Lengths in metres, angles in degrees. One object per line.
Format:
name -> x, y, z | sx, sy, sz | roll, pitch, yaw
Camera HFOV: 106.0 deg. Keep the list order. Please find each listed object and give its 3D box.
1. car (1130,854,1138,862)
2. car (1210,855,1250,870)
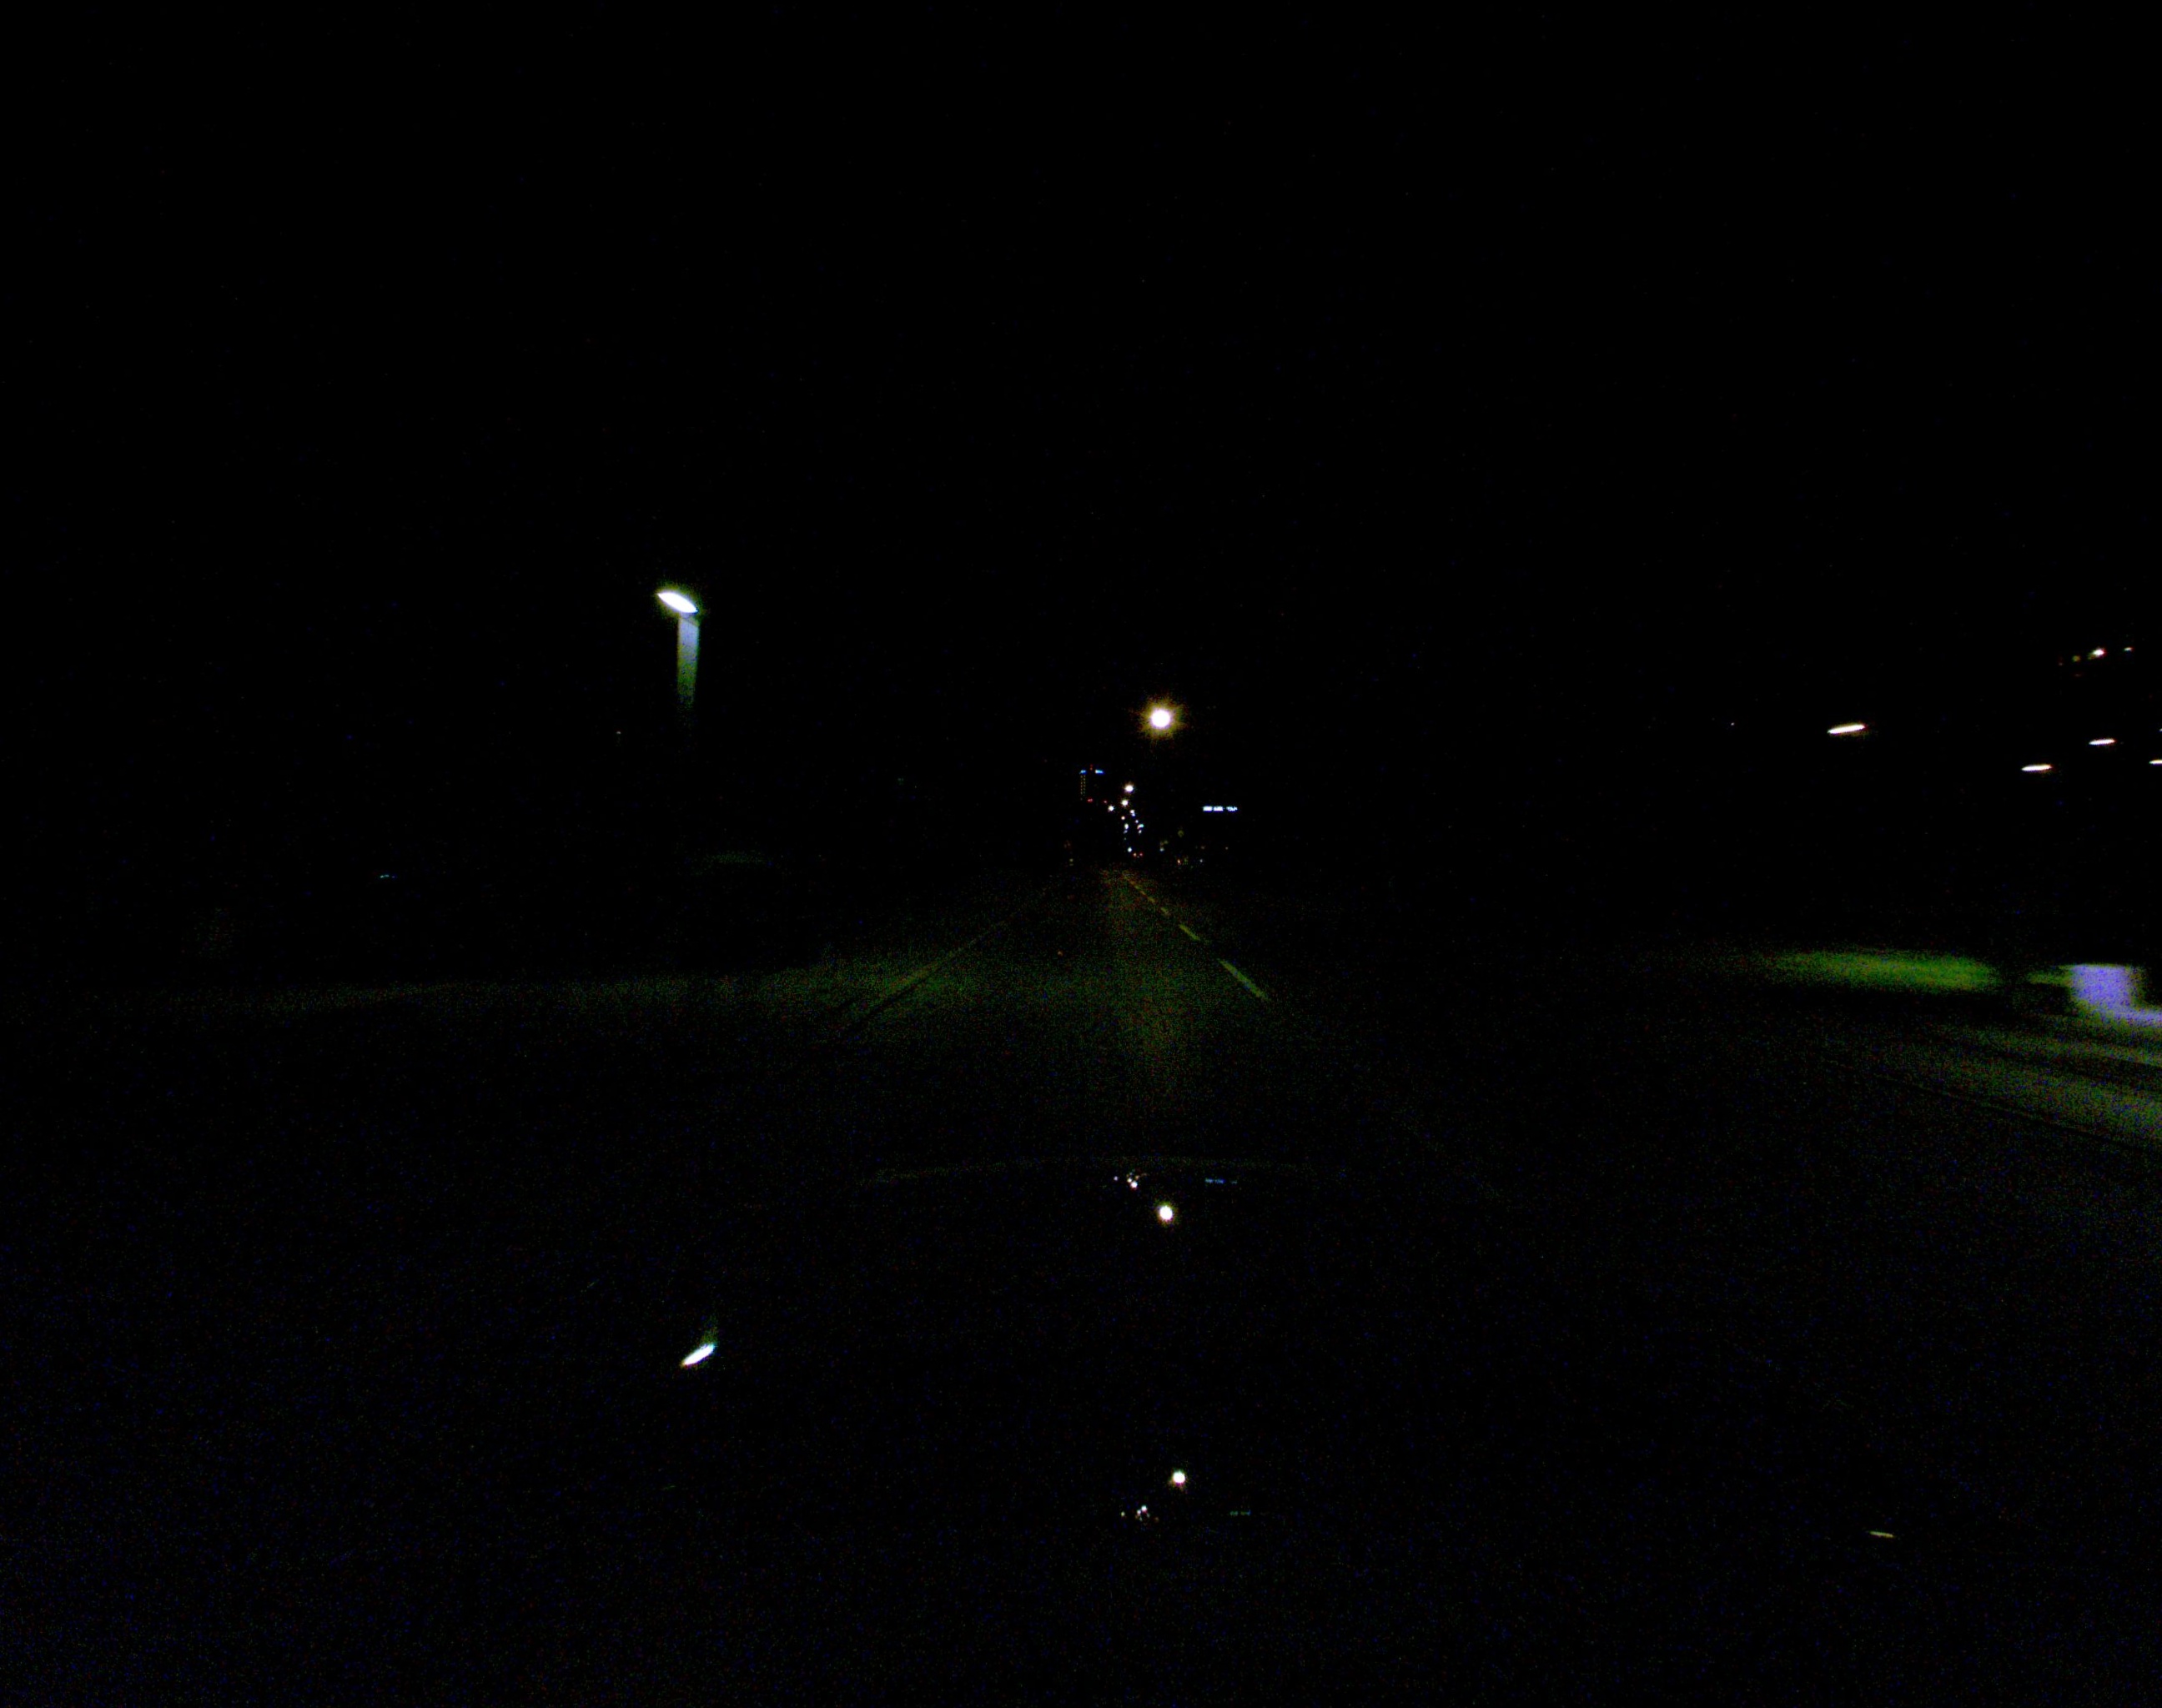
car -> 12.912, 0.952, 198.368 | 1.917, 1.854, 4.001 | 0, -2, 2
car -> 15.473, 0.854, 84.825 | 3.827, 1.544, 1.808 | 0, 0, -2
